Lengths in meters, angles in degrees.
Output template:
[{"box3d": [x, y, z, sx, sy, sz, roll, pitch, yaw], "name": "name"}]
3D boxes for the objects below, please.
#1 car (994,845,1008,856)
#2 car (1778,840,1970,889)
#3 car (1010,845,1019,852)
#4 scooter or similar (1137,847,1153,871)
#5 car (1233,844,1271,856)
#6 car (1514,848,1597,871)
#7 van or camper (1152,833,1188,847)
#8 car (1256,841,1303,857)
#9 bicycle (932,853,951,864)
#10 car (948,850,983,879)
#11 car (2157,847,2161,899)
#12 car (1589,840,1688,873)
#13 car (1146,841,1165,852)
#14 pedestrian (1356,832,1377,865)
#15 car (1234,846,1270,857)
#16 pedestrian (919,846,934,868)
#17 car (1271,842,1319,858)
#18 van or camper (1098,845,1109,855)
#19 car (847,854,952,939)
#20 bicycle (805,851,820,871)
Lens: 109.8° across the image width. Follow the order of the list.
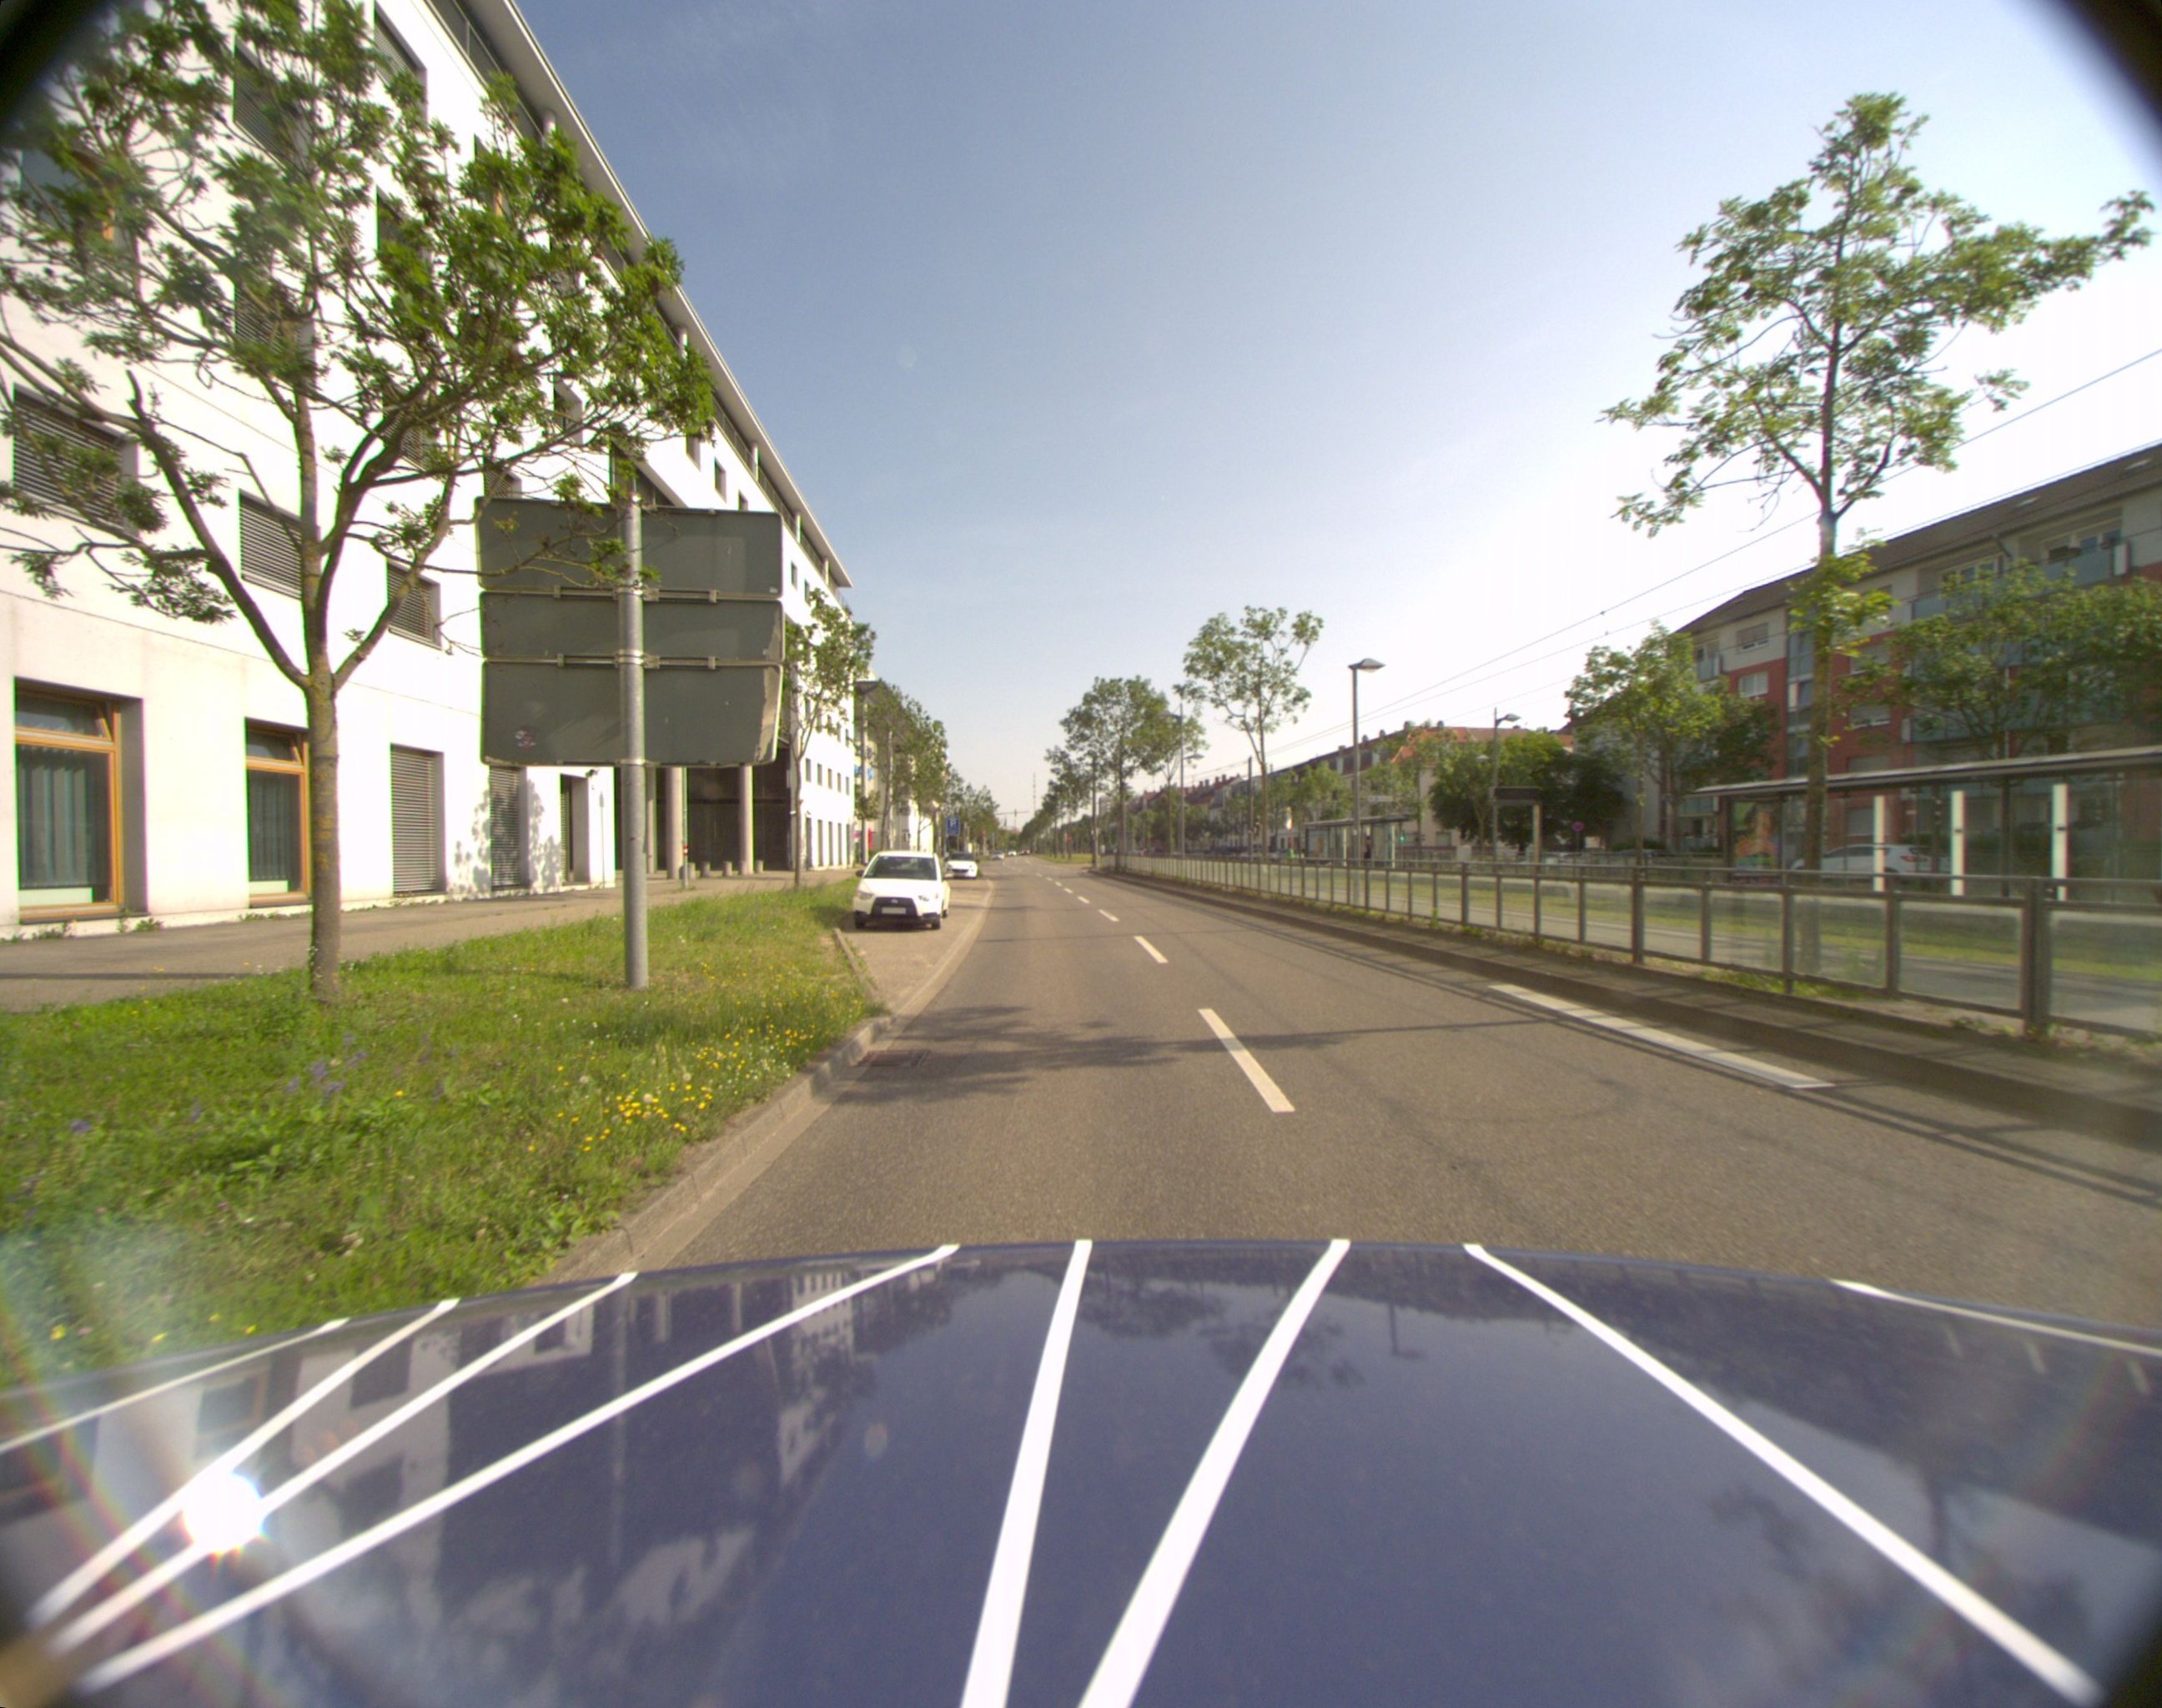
[{"box3d": [-12.205, -0.513, 115.619, 1.999, 1.652, 3.997, -1, 1, -5], "name": "car"}, {"box3d": [28.454, 0.298, 27.518, 1.987, 1.547, 4.533, -2, 1, -6], "name": "car"}, {"box3d": [-14.944, -1.248, 170.263, 1.999, 1.652, 3.997, -1, 1, -5], "name": "car"}, {"box3d": [3.228, 0.243, 38.444, 0.426, 1.232, 1.264, 1, 1, 22], "name": "scooter or similar"}, {"box3d": [20.305, -0.426, 90.314, 3.990, 1.262, 1.889, -2, 2, 25], "name": "car"}, {"box3d": [26.841, 0.287, 43.136, 1.839, 1.141, 4.161, -2, 1, -6], "name": "car"}, {"box3d": [16.577, -2.583, 141.242, 6.145, 2.532, 2.418, 0, 2, 32], "name": "van or camper"}, {"box3d": [21.024, -0.492, 80.467, 4.453, 1.506, 2.003, -1, 2, 31], "name": "car"}, {"box3d": [-10.284, 0.328, 55.935, 1.274, 0.629, 0.521, 5, 2, 2], "name": "bicycle"}, {"box3d": [-6.304, 0.559, 41.853, 1.725, 1.510, 3.778, -1, 1, -6], "name": "car"}, {"box3d": [29.274, 0.493, 17.913, 1.987, 1.353, 4.066, -2, 1, -6], "name": "car"}, {"box3d": [27.518, 0.096, 37.649, 1.839, 1.463, 3.824, -2, 1, -6], "name": "car"}, {"box3d": [11.992, -1.207, 122.512, 2.000, 1.696, 4.709, 2, 1, -6], "name": "car"}, {"box3d": [14.300, -0.278, 38.098, 0.674, 1.644, 0.794, -1, 2, -10], "name": "pedestrian"}, {"box3d": [20.915, -0.304, 92.910, 3.989, 1.251, 1.879, 0, 1, 28], "name": "car"}, {"box3d": [-11.201, 0.202, 55.202, 0.778, 1.606, 0.714, 0, 1, 22], "name": "pedestrian"}, {"box3d": [21.677, -0.380, 77.021, 4.342, 1.455, 1.966, -2, 2, 28], "name": "car"}, {"box3d": [5.838, -1.121, 201.368, 2.148, 2.460, 6.054, 1, 1, -6], "name": "van or camper"}, {"box3d": [-3.653, 0.776, 15.849, 1.694, 1.517, 3.847, -1, 1, -7], "name": "car"}, {"box3d": [-15.275, 0.373, 43.267, 0.495, 1.080, 1.548, 1, 1, -8], "name": "bicycle"}]
